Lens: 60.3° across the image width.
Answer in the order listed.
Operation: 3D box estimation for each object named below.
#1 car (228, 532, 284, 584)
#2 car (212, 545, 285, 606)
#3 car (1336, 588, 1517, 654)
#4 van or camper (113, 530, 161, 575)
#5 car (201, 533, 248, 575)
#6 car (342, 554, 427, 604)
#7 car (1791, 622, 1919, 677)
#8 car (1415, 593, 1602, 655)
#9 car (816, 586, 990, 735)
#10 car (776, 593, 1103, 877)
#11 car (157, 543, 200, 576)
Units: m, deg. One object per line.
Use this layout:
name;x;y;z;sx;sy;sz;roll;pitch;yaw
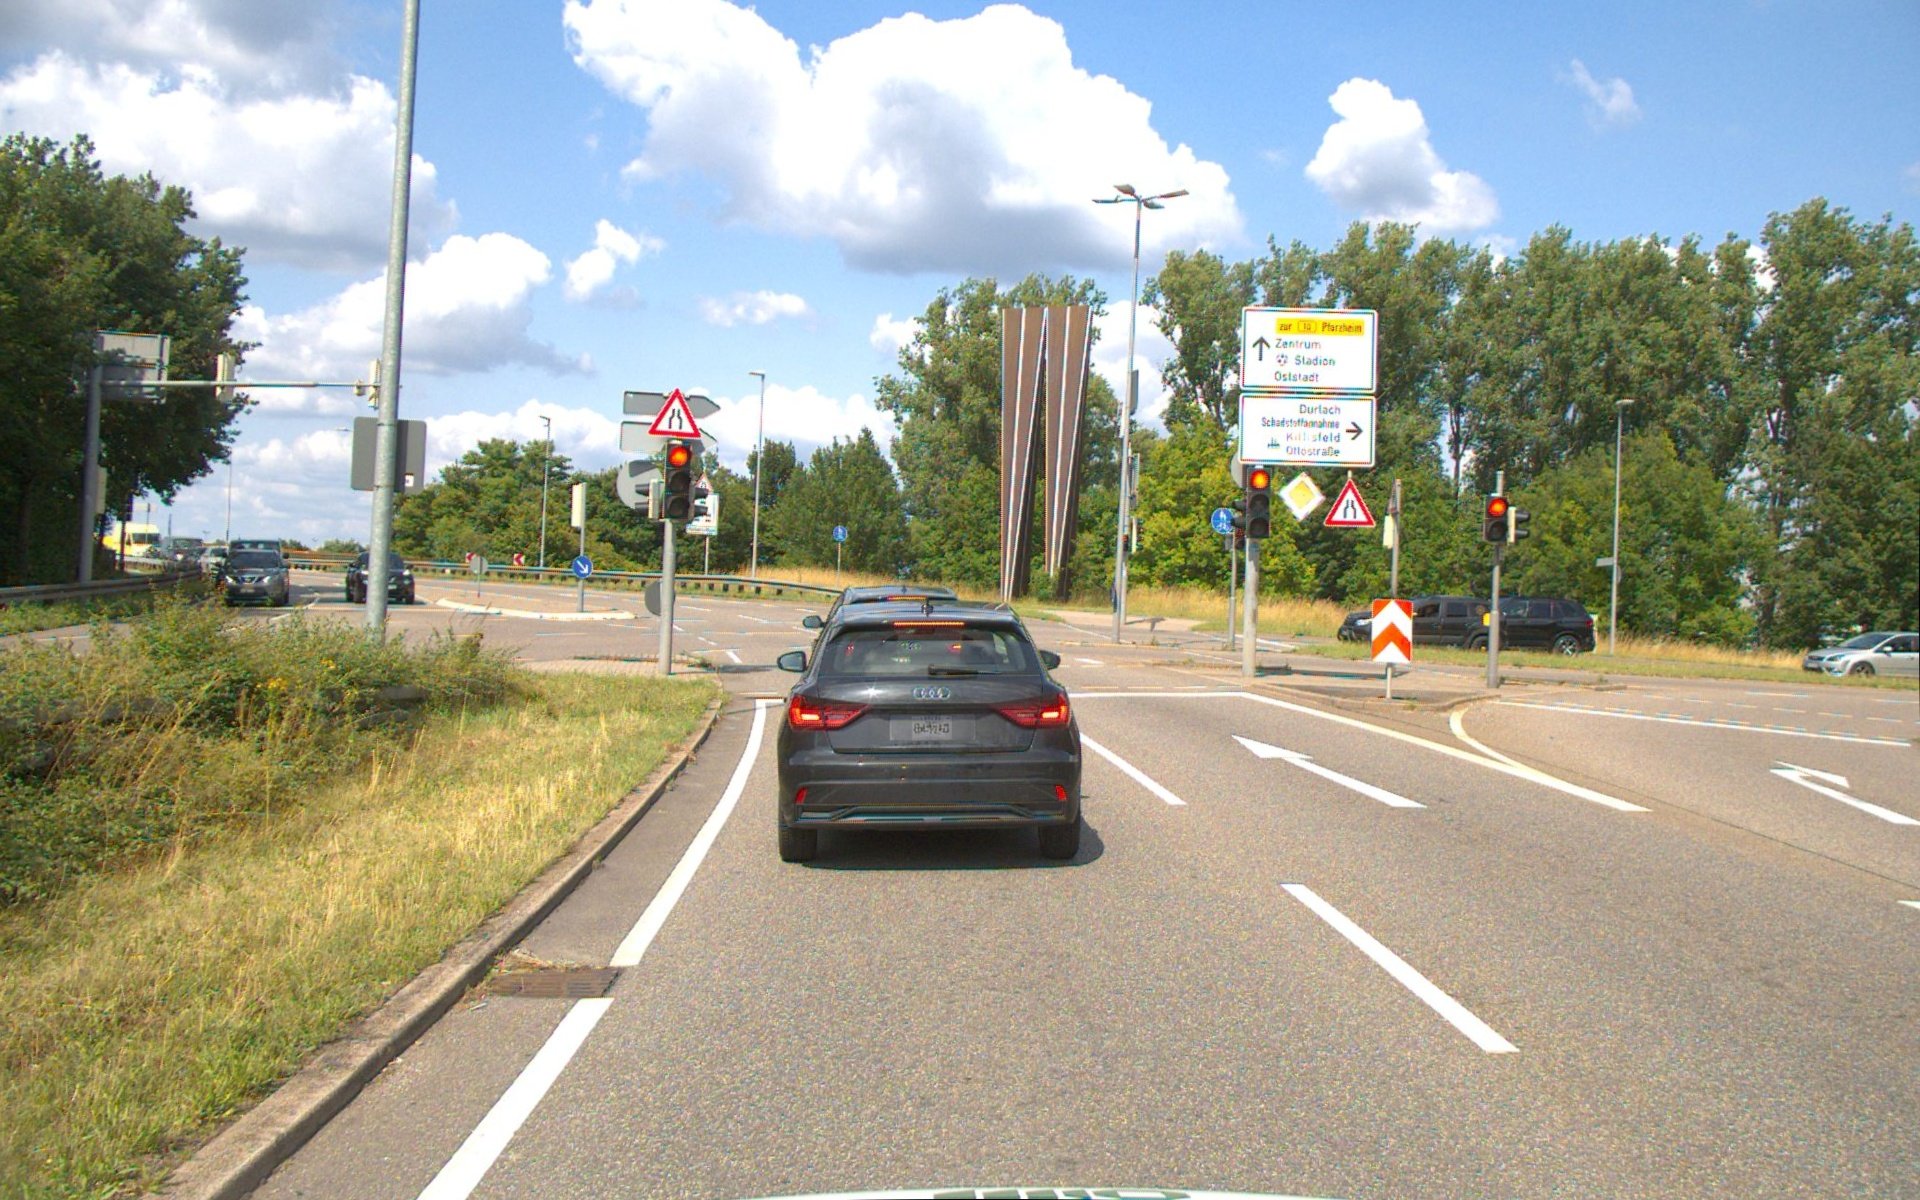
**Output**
car;-26.244;-1.562;61.727;1.818;1.833;4.297;2;0;-22
car;-20.577;-0.675;47.966;1.813;1.646;3.973;1;-1;-22
car;12.150;0.531;43.243;4.183;1.572;1.736;2;0;-3
van or camper;-51.827;-2.975;104.107;1.975;2.730;6.786;1;1;-33
car;-36.662;-2.280;82.411;1.822;2.013;4.288;2;0;-28
car;-18.111;-0.681;51.969;1.925;1.443;3.934;2;0;-28
car;24.799;1.335;44.201;4.385;1.343;1.735;2;0;-5
car;15.620;0.669;47.257;4.750;1.572;1.736;2;0;-3
car;-0.726;0.575;18.317;1.693;1.448;3.840;0;1;-6
car;-0.162;0.688;10.567;1.691;1.429;3.999;0;1;-2
car;-43.251;-2.253;91.545;1.823;1.735;4.284;2;1;-29
